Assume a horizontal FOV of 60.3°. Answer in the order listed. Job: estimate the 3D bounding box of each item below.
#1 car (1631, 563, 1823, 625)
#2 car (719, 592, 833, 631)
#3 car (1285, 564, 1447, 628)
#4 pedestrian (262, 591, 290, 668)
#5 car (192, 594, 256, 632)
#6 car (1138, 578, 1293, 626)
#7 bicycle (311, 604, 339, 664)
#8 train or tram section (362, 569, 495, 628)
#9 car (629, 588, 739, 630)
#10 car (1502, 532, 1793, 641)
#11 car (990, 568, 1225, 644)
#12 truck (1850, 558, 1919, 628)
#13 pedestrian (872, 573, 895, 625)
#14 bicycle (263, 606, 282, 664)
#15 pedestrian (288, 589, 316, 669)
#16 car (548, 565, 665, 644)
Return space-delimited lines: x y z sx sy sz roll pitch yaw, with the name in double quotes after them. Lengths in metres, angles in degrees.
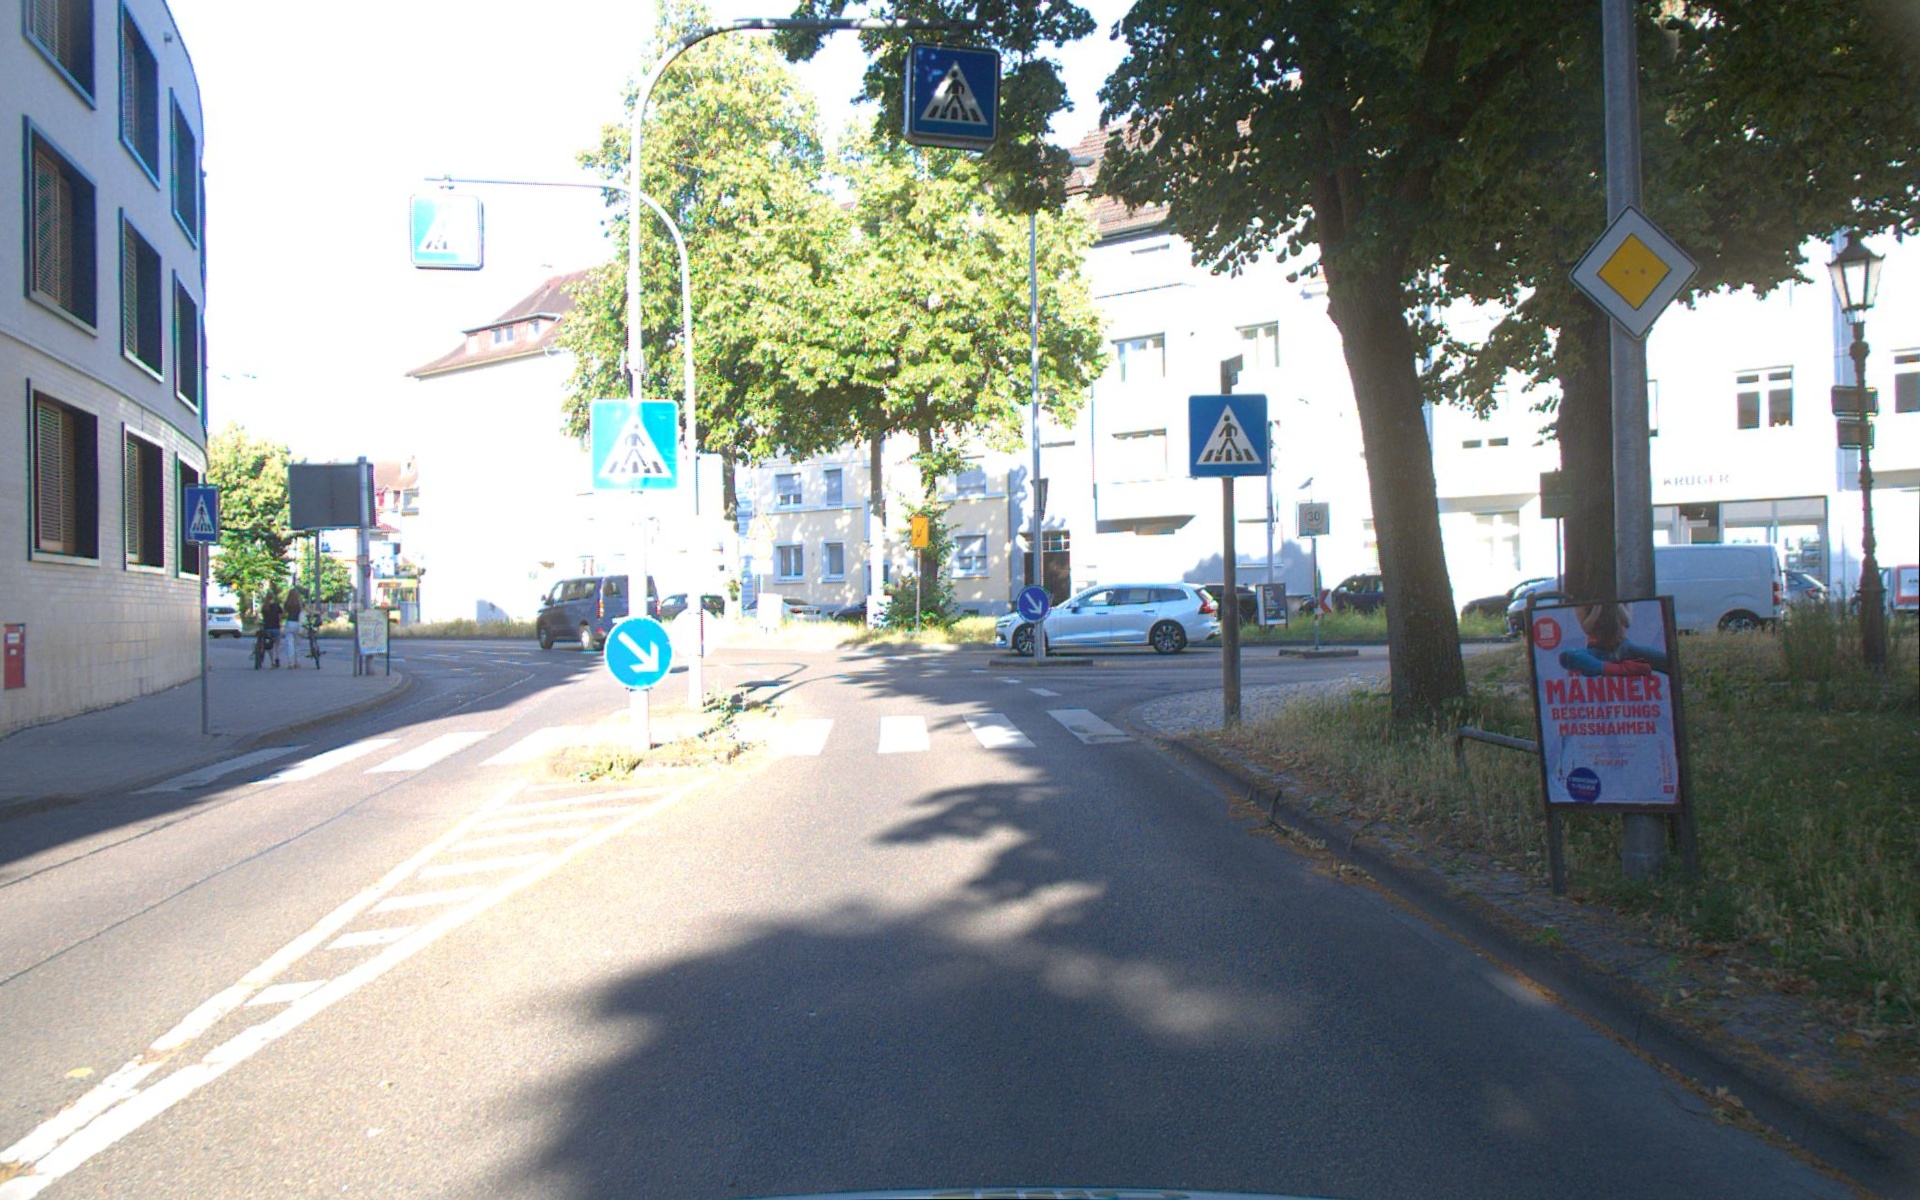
19.248 -0.158 41.574 4.021 1.478 1.990 0 1 40 "car"
-7.242 0.445 64.776 4.363 1.410 1.990 0 1 40 "car"
11.777 -0.120 48.056 4.131 1.779 1.990 0 1 40 "car"
-14.397 0.613 34.829 0.468 1.592 0.598 -2 1 -25 "pedestrian"
-32.538 0.566 73.082 1.942 1.531 3.641 -2 1 -34 "car"
7.901 0.062 51.307 4.363 1.410 1.990 0 1 40 "car"
-13.436 0.704 34.981 0.434 1.199 1.951 0 1 -25 "bicycle"
-34.240 -0.140 107.146 2.717 3.618 9.923 -1 0 19 "train or tram section"
-11.438 0.380 68.484 4.555 1.599 1.990 -2 0 40 "car"
12.736 -0.232 30.687 4.794 1.886 1.997 -1 1 29 "car"
3.101 0.117 34.381 4.655 1.489 1.856 -1 1 12 "car"
23.328 -0.188 38.772 4.021 1.613 1.990 0 1 40 "truck"
-3.008 -0.048 65.167 0.637 2.049 0.610 -1 0 40 "pedestrian"
-14.517 0.730 34.940 0.370 1.187 1.825 0 0 -22 "bicycle"
-13.939 0.609 35.042 0.468 1.676 0.598 -2 1 -25 "pedestrian"
-9.679 0.114 45.052 1.973 2.049 3.958 0 0 -31 "car"
